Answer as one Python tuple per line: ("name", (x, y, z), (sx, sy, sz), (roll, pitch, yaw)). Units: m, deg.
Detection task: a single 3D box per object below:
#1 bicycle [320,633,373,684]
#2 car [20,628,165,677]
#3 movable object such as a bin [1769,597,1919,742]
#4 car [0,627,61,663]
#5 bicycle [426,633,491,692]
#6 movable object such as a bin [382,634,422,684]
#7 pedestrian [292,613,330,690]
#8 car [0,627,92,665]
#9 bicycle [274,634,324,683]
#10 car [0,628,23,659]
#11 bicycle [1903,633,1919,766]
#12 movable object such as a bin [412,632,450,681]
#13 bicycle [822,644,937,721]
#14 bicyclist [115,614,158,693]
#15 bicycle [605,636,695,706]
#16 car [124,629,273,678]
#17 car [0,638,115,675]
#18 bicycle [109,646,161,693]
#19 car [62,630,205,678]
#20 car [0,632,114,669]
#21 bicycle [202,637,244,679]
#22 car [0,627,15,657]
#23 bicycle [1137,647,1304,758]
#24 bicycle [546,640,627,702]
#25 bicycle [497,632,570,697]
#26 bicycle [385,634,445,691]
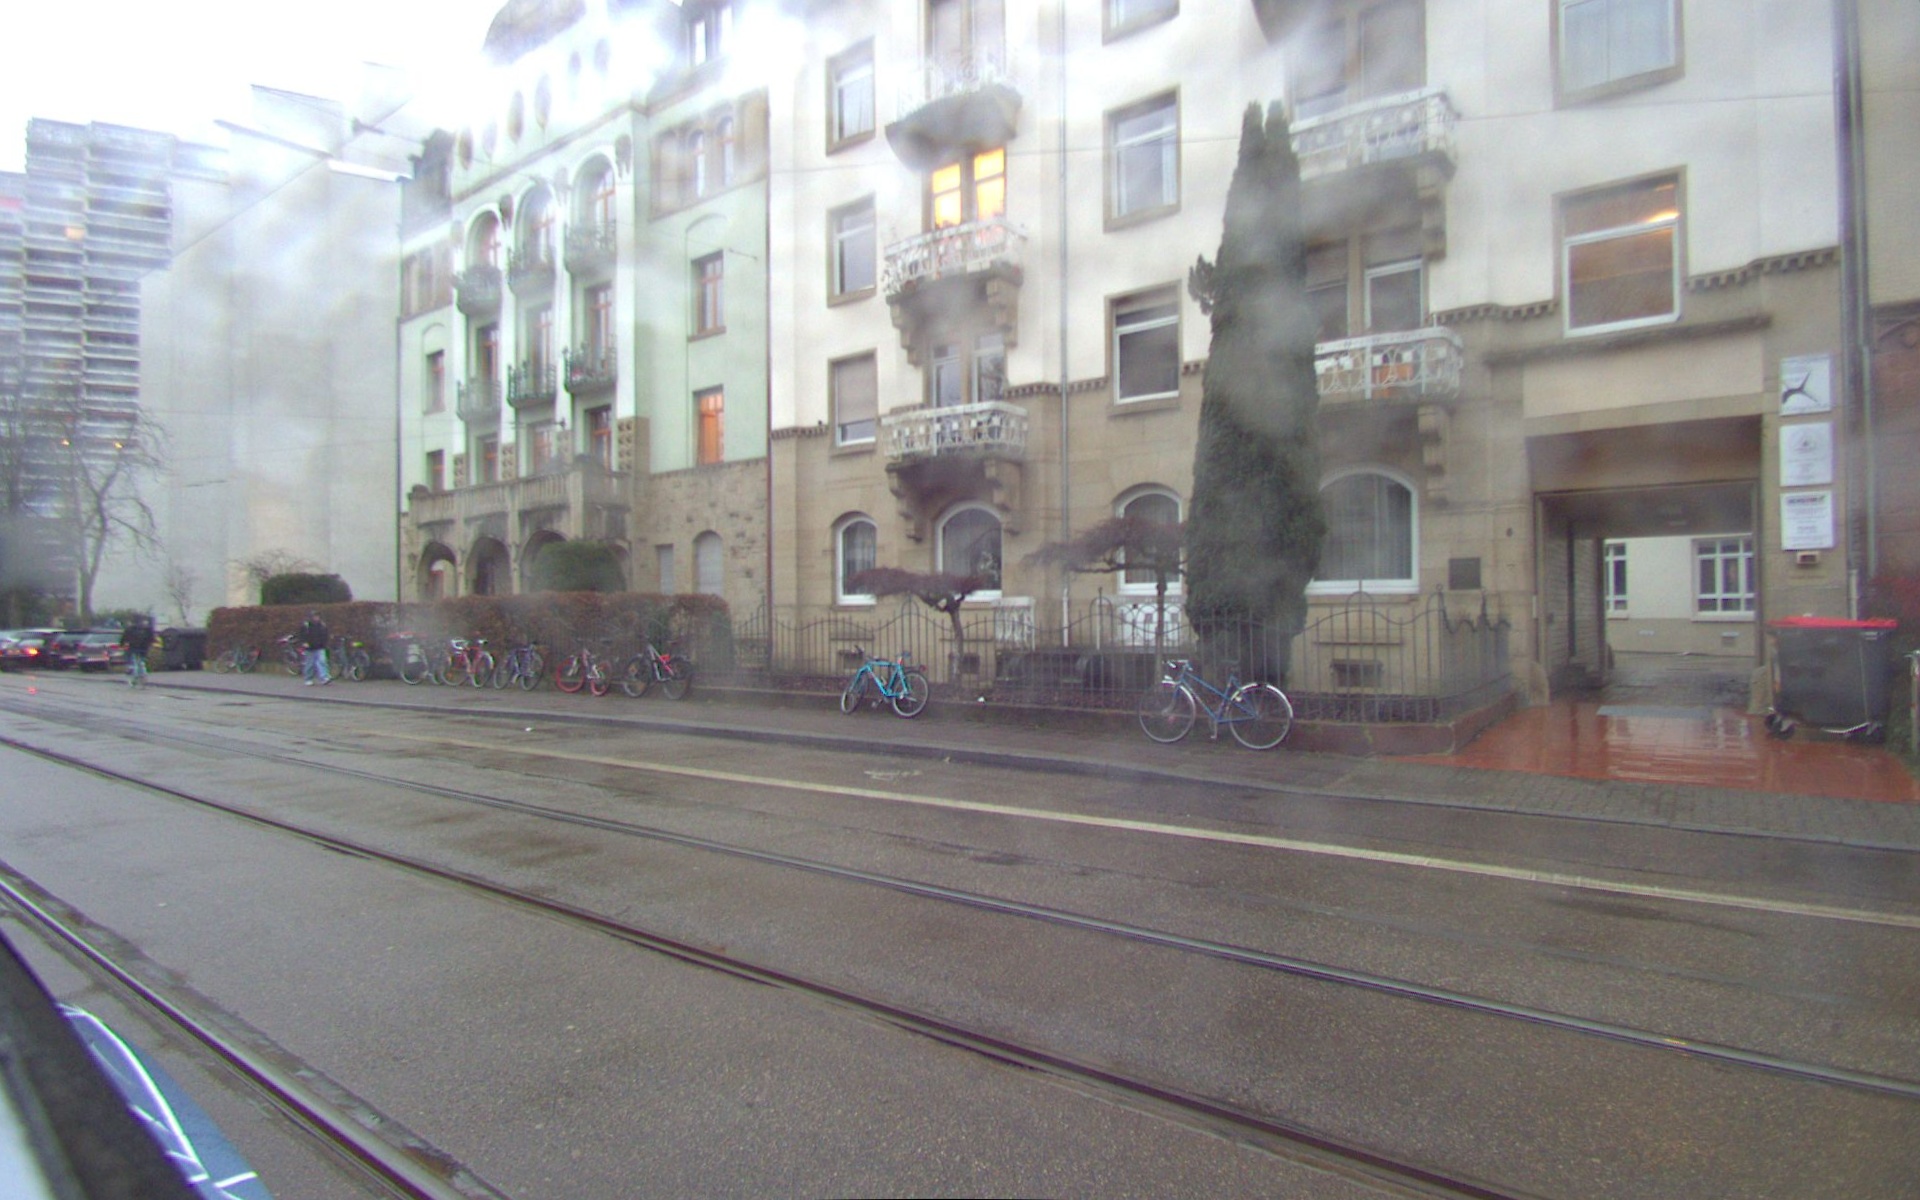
("bicycle", (-15.169, 1.435, 25.019), (1.661, 1.221, 0.617), (-2, -2, 40))
("car", (-31.330, 1.864, 36.711), (1.843, 1.608, 3.999), (-1, -1, 0))
("movable object such as a bin", (9.386, 0.698, 10.781), (1.166, 1.390, 1.092), (-2, 1, 39))
("car", (-44.671, 2.120, 47.278), (1.843, 1.608, 3.999), (-1, -1, 0))
("bicycle", (-10.576, 1.294, 21.322), (1.661, 1.173, 0.617), (-2, -2, 40))
("movable object such as a bin", (-13.583, 1.419, 24.637), (0.674, 1.173, 0.651), (-2, -2, 40))
("pedestrian", (-15.164, 1.188, 23.644), (0.644, 1.738, 0.567), (0, 1, 41))
("car", (-42.197, 2.086, 46.166), (1.843, 1.608, 3.999), (-1, -1, 0))
("bicycle", (-17.256, 1.507, 26.406), (1.661, 1.221, 0.617), (-2, -2, 40))
("car", (-49.974, 2.225, 50.973), (1.843, 1.608, 3.999), (-1, -1, 0))
("bicycle", (8.678, 0.902, 8.650), (0.694, 1.114, 2.326), (-2, 1, 38))
("movable object such as a bin", (-13.146, 1.395, 25.157), (0.674, 1.173, 0.617), (-2, -2, 40))
("bicycle", (-1.157, 1.134, 14.275), (1.661, 1.010, 0.617), (-2, -2, 40))
("bicyclist", (-20.124, 1.285, 24.733), (0.990, 1.891, 0.617), (-2, -2, 40))
("bicycle", (-5.352, 1.196, 17.431), (1.781, 1.134, 0.617), (-2, -2, 40))
("car", (-26.014, 1.790, 34.756), (1.847, 1.505, 3.989), (-1, -1, 8))
("car", (-33.223, 2.024, 36.947), (1.687, 1.262, 3.666), (0, -2, -1))
("bicycle", (-20.271, 1.688, 24.858), (1.946, 1.101, 0.617), (-2, -2, 40))
("car", (-28.720, 1.845, 35.325), (1.740, 1.497, 3.999), (-1, -1, 0))
("car", (-39.125, 2.160, 43.729), (1.843, 1.460, 3.999), (-1, -1, 0))
("bicycle", (-21.483, 1.668, 29.491), (1.661, 1.173, 0.617), (-2, -1, 40))
("car", (-52.393, 2.273, 53.148), (1.843, 1.608, 3.999), (-1, -1, 0))
("bicycle", (2.838, 1.081, 11.106), (1.661, 1.101, 0.617), (-2, -2, 40))
("bicycle", (-6.908, 1.283, 18.690), (1.725, 1.073, 0.617), (-2, -2, 40))
("bicycle", (-8.322, 1.234, 19.729), (1.661, 1.221, 0.617), (-2, -2, 40))
("bicycle", (-12.185, 1.371, 22.607), (1.661, 1.221, 0.617), (-2, -2, 40))
